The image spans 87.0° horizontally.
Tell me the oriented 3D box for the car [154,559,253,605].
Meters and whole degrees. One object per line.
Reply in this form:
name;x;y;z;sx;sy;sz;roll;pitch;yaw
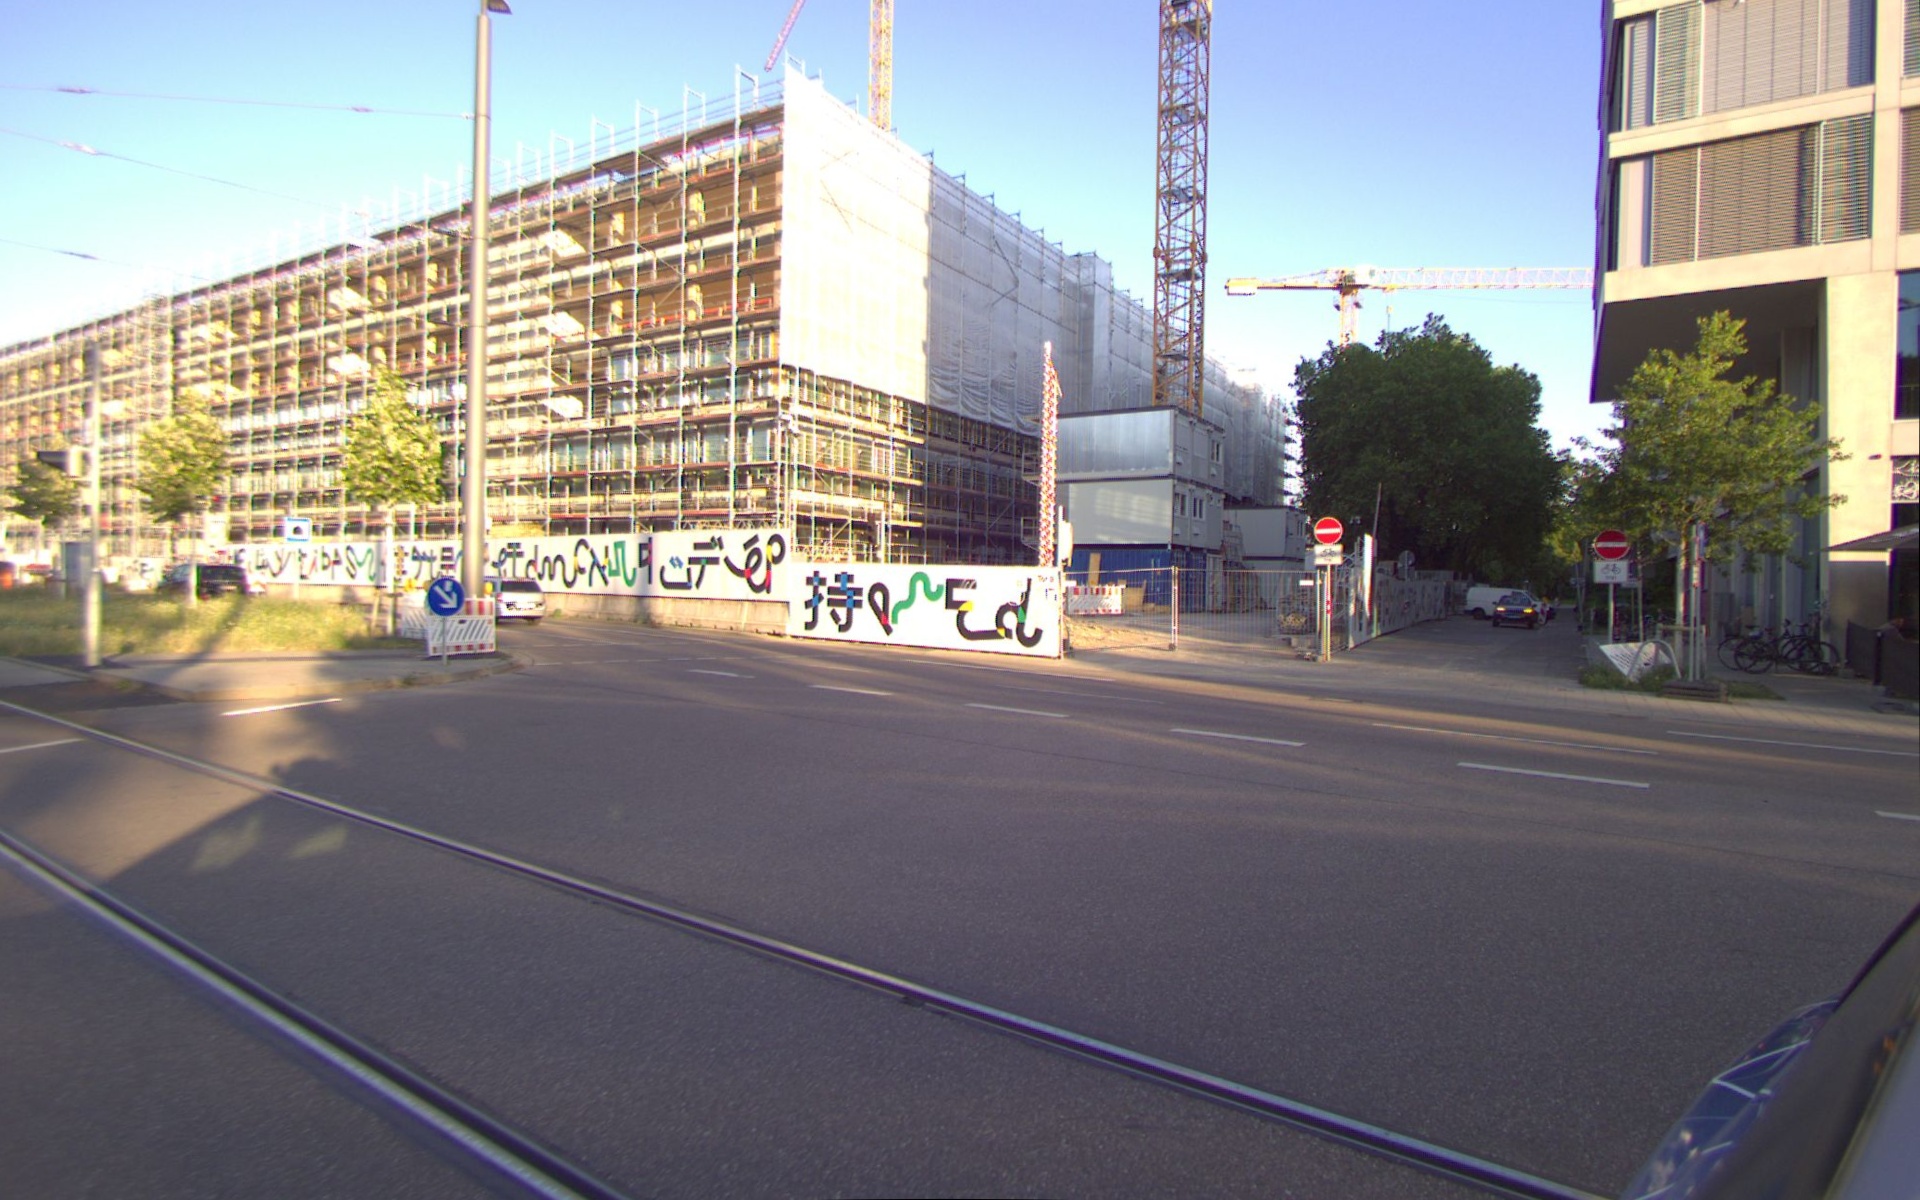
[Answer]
car;-27.951;-0.663;37.366;4.044;1.537;1.763;2;-1;36

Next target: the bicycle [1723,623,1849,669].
bicycle;17.024;0.935;20.909;1.961;0.885;0.391;0;2;31

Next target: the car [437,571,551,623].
car;-14.503;-0.112;31.406;4.051;1.473;1.644;2;0;41

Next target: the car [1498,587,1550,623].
car;27.383;0.216;49.071;1.994;1.617;3.664;2;2;32

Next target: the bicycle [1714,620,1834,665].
bicycle;17.422;0.904;21.708;1.961;0.885;0.391;0;2;31

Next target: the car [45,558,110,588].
car;-50.918;-1.564;58.353;3.975;1.593;1.975;2;1;35

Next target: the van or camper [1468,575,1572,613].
van or camper;33.286;-0.335;60.195;4.938;2.150;2.452;-1;0;44

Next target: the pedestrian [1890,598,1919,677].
pedestrian;18.377;0.714;19.329;0.767;1.481;0.599;2;1;31
